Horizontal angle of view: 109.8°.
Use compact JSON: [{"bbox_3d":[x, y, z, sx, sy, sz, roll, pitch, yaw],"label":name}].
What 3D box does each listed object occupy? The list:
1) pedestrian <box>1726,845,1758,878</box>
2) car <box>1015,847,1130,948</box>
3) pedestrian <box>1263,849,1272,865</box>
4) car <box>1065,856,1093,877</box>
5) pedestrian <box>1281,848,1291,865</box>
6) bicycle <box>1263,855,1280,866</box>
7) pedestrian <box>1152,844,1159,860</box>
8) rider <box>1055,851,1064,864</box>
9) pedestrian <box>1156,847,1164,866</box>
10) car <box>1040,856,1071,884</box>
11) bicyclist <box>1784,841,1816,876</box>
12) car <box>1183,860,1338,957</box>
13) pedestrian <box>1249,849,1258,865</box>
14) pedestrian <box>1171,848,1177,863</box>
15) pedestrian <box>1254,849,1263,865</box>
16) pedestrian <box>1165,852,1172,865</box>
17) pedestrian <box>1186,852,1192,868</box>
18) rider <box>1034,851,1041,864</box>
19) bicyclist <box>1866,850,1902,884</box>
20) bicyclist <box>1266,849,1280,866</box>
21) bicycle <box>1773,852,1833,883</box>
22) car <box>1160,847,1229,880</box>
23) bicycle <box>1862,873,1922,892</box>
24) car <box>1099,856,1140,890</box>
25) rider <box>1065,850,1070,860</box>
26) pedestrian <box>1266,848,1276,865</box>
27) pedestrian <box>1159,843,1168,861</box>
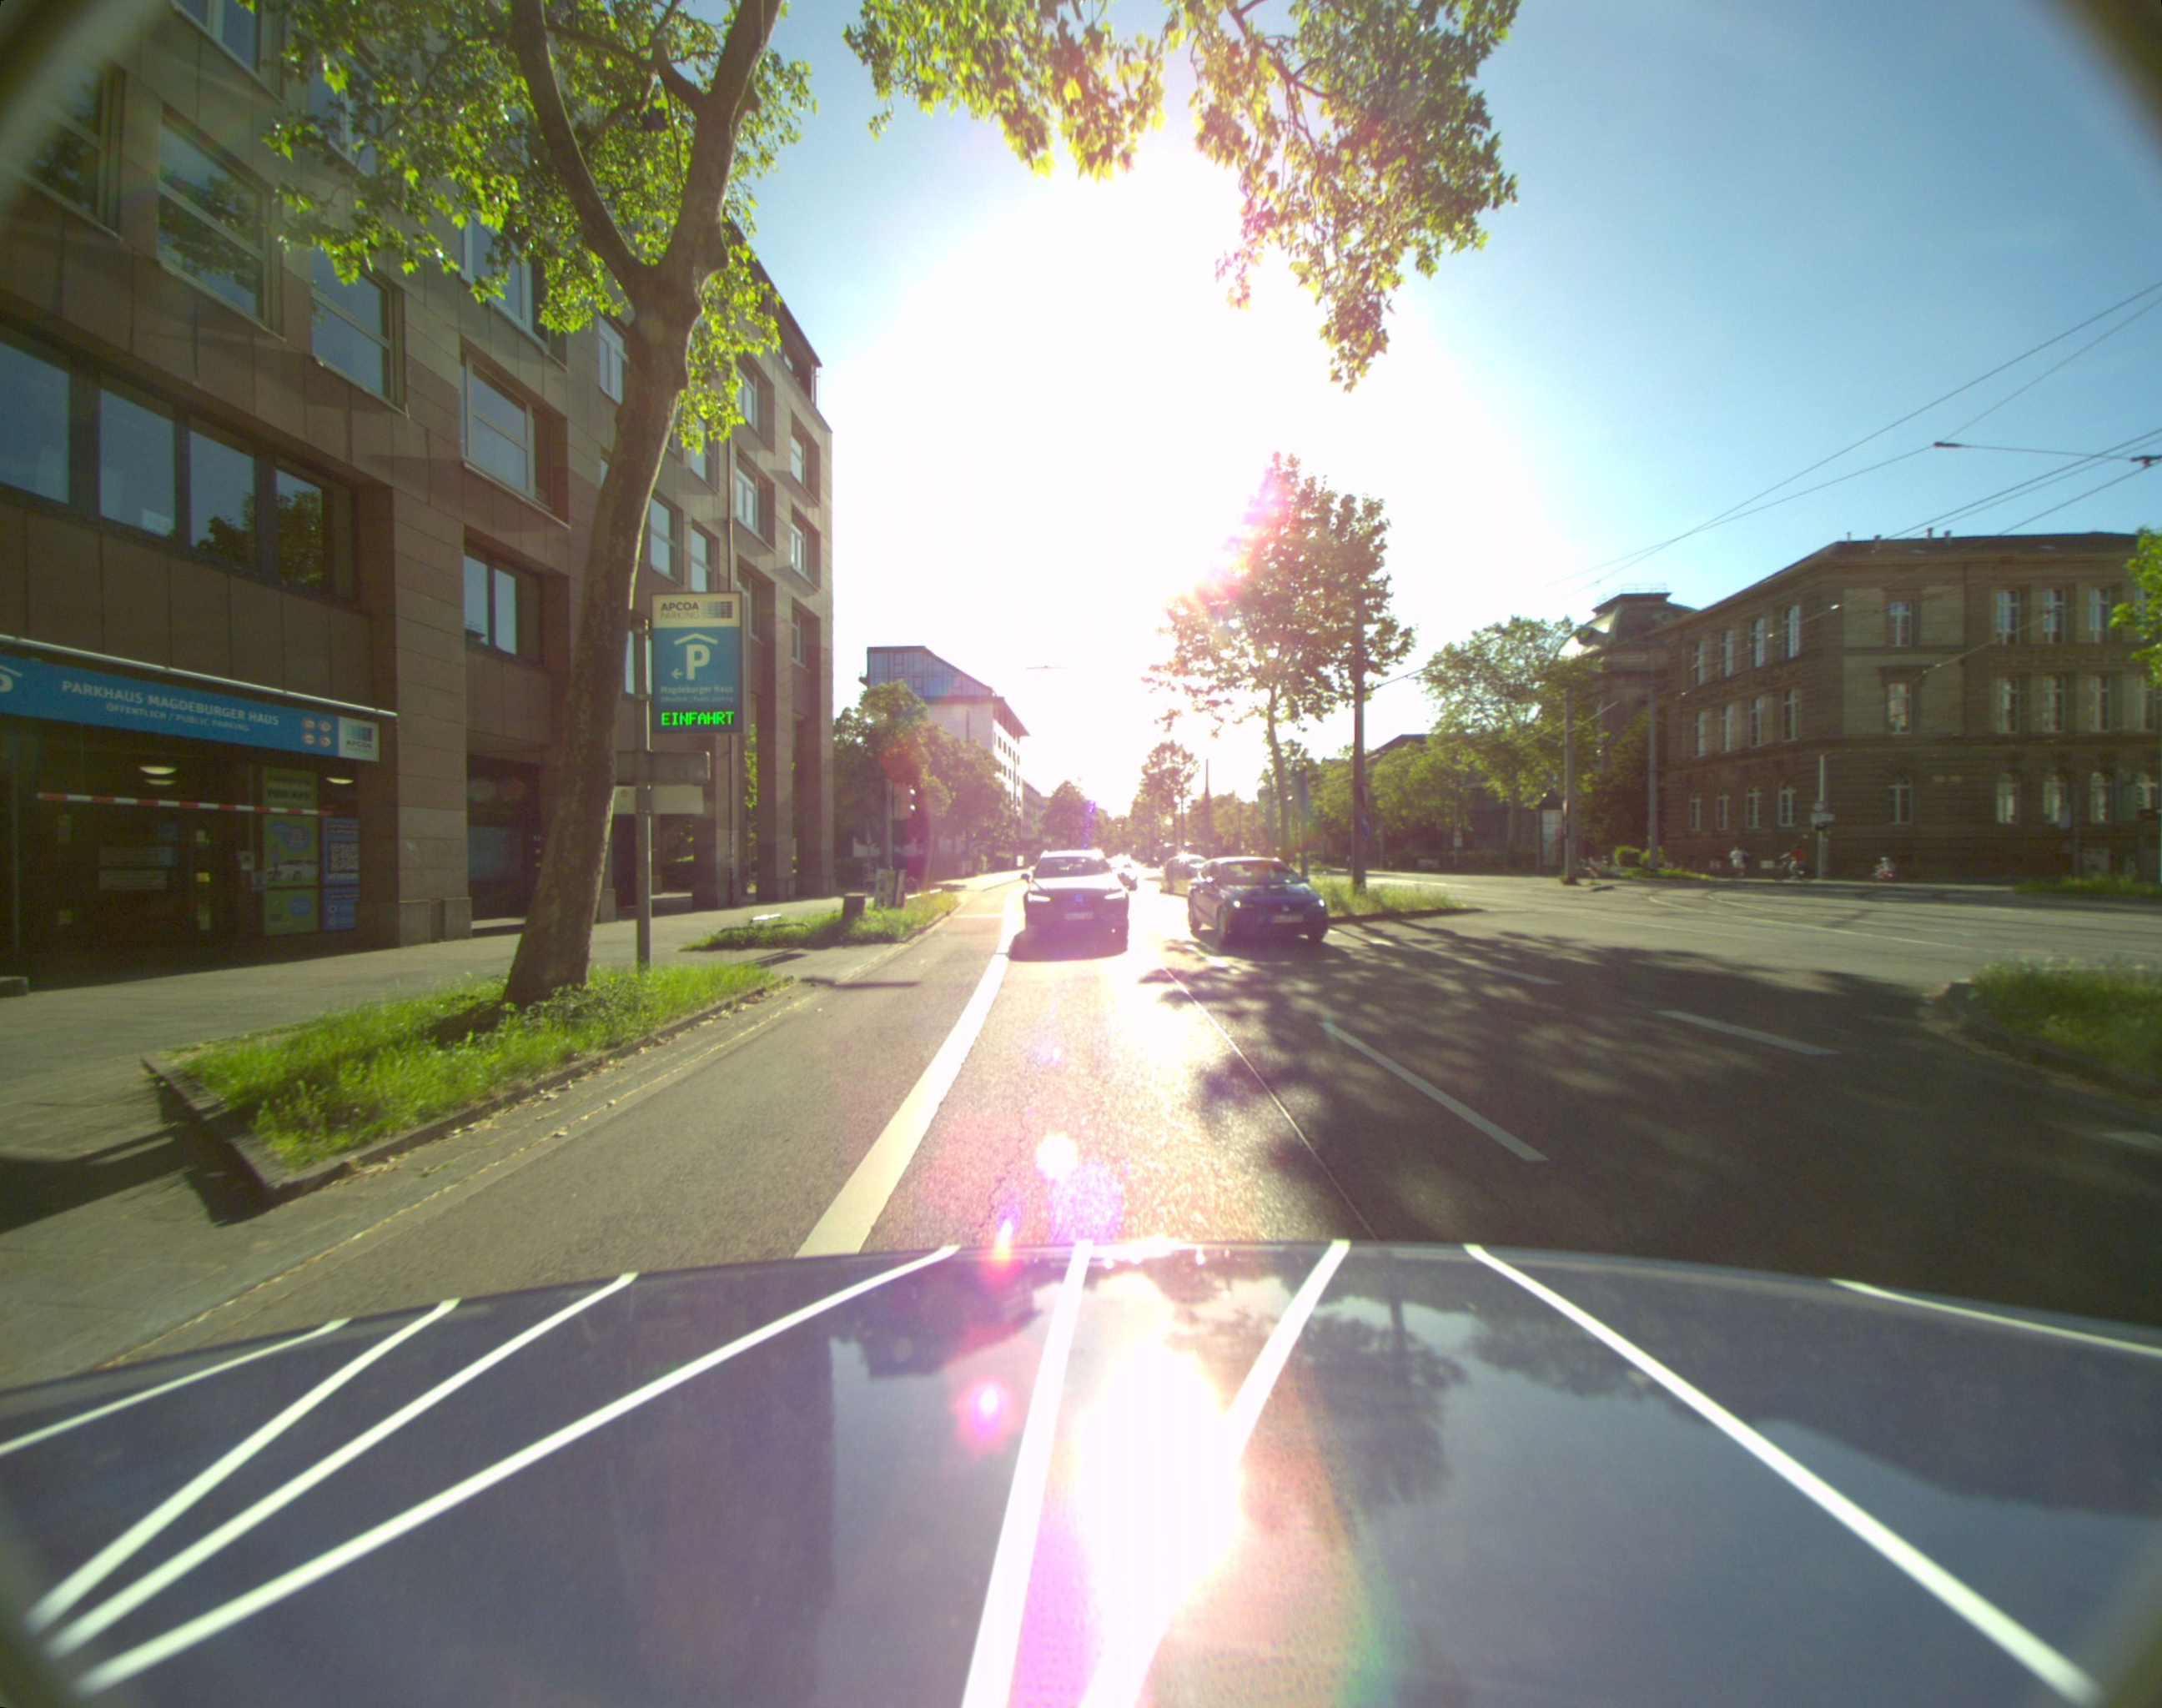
[{"bbox_3d":[36.300,0.405,41.749,0.864,1.790,1.002,-2,1,4],"label":"pedestrian"},{"bbox_3d":[-0.055,0.739,15.671,1.948,1.690,5.306,-1,0,2],"label":"car"},{"bbox_3d":[19.196,0.351,78.211,0.595,1.634,0.698,-3,1,-33],"label":"pedestrian"},{"bbox_3d":[-0.128,1.044,65.447,1.774,1.567,3.825,-2,1,8],"label":"car"},{"bbox_3d":[20.837,0.250,77.316,0.595,1.612,0.698,-3,1,-30],"label":"pedestrian"},{"bbox_3d":[19.087,0.682,76.158,1.666,1.036,0.543,-3,2,-28],"label":"bicycle"},{"bbox_3d":[9.266,-0.257,94.761,0.711,2.002,0.787,-2,1,4],"label":"pedestrian"},{"bbox_3d":[-2.788,0.405,98.283,0.924,1.668,0.977,-2,1,4],"label":"rider"},{"bbox_3d":[7.857,0.252,75.844,0.647,1.796,0.504,-3,1,-7],"label":"pedestrian"},{"bbox_3d":[-1.407,0.874,42.980,1.604,1.387,3.999,-3,0,0],"label":"car"},{"bbox_3d":[33.626,0.202,35.537,0.675,1.614,0.871,-2,0,0],"label":"bicyclist"},{"bbox_3d":[3.082,0.867,13.873,1.778,1.439,3.868,-1,0,-2],"label":"car"},{"bbox_3d":[18.480,0.301,81.471,0.595,1.735,0.698,-3,1,-30],"label":"pedestrian"},{"bbox_3d":[10.471,0.142,85.896,0.580,1.652,0.667,-2,1,12],"label":"pedestrian"},{"bbox_3d":[18.702,0.350,80.123,0.595,1.667,0.698,-3,1,-30],"label":"pedestrian"},{"bbox_3d":[8.589,0.443,74.385,0.594,1.226,0.425,-3,1,-7],"label":"pedestrian"},{"bbox_3d":[11.299,0.627,79.538,0.544,1.652,0.730,-2,1,8],"label":"pedestrian"},{"bbox_3d":[-5.507,0.476,96.456,0.779,1.582,0.790,0,1,0],"label":"rider"},{"bbox_3d":[35.523,0.565,33.607,0.797,1.453,0.730,-3,1,-2],"label":"bicyclist"},{"bbox_3d":[19.179,0.388,76.001,0.970,1.634,0.833,-3,1,-30],"label":"bicyclist"},{"bbox_3d":[33.659,0.620,35.476,0.526,1.381,2.351,-3,1,0],"label":"bicycle"},{"bbox_3d":[5.938,0.493,40.253,1.669,1.586,3.855,-3,1,-26],"label":"car"},{"bbox_3d":[35.587,1.246,33.380,0.526,0.718,1.900,-3,0,-2],"label":"bicycle"},{"bbox_3d":[1.833,0.860,36.270,1.798,1.420,4.000,-2,0,3],"label":"car"},{"bbox_3d":[-2.498,0.220,142.255,0.759,1.717,0.895,-2,1,2],"label":"rider"},{"bbox_3d":[19.837,0.282,79.282,0.595,1.726,0.698,-3,1,-30],"label":"pedestrian"},{"bbox_3d":[9.960,-0.269,91.224,0.785,2.175,0.801,-2,1,23],"label":"pedestrian"}]
